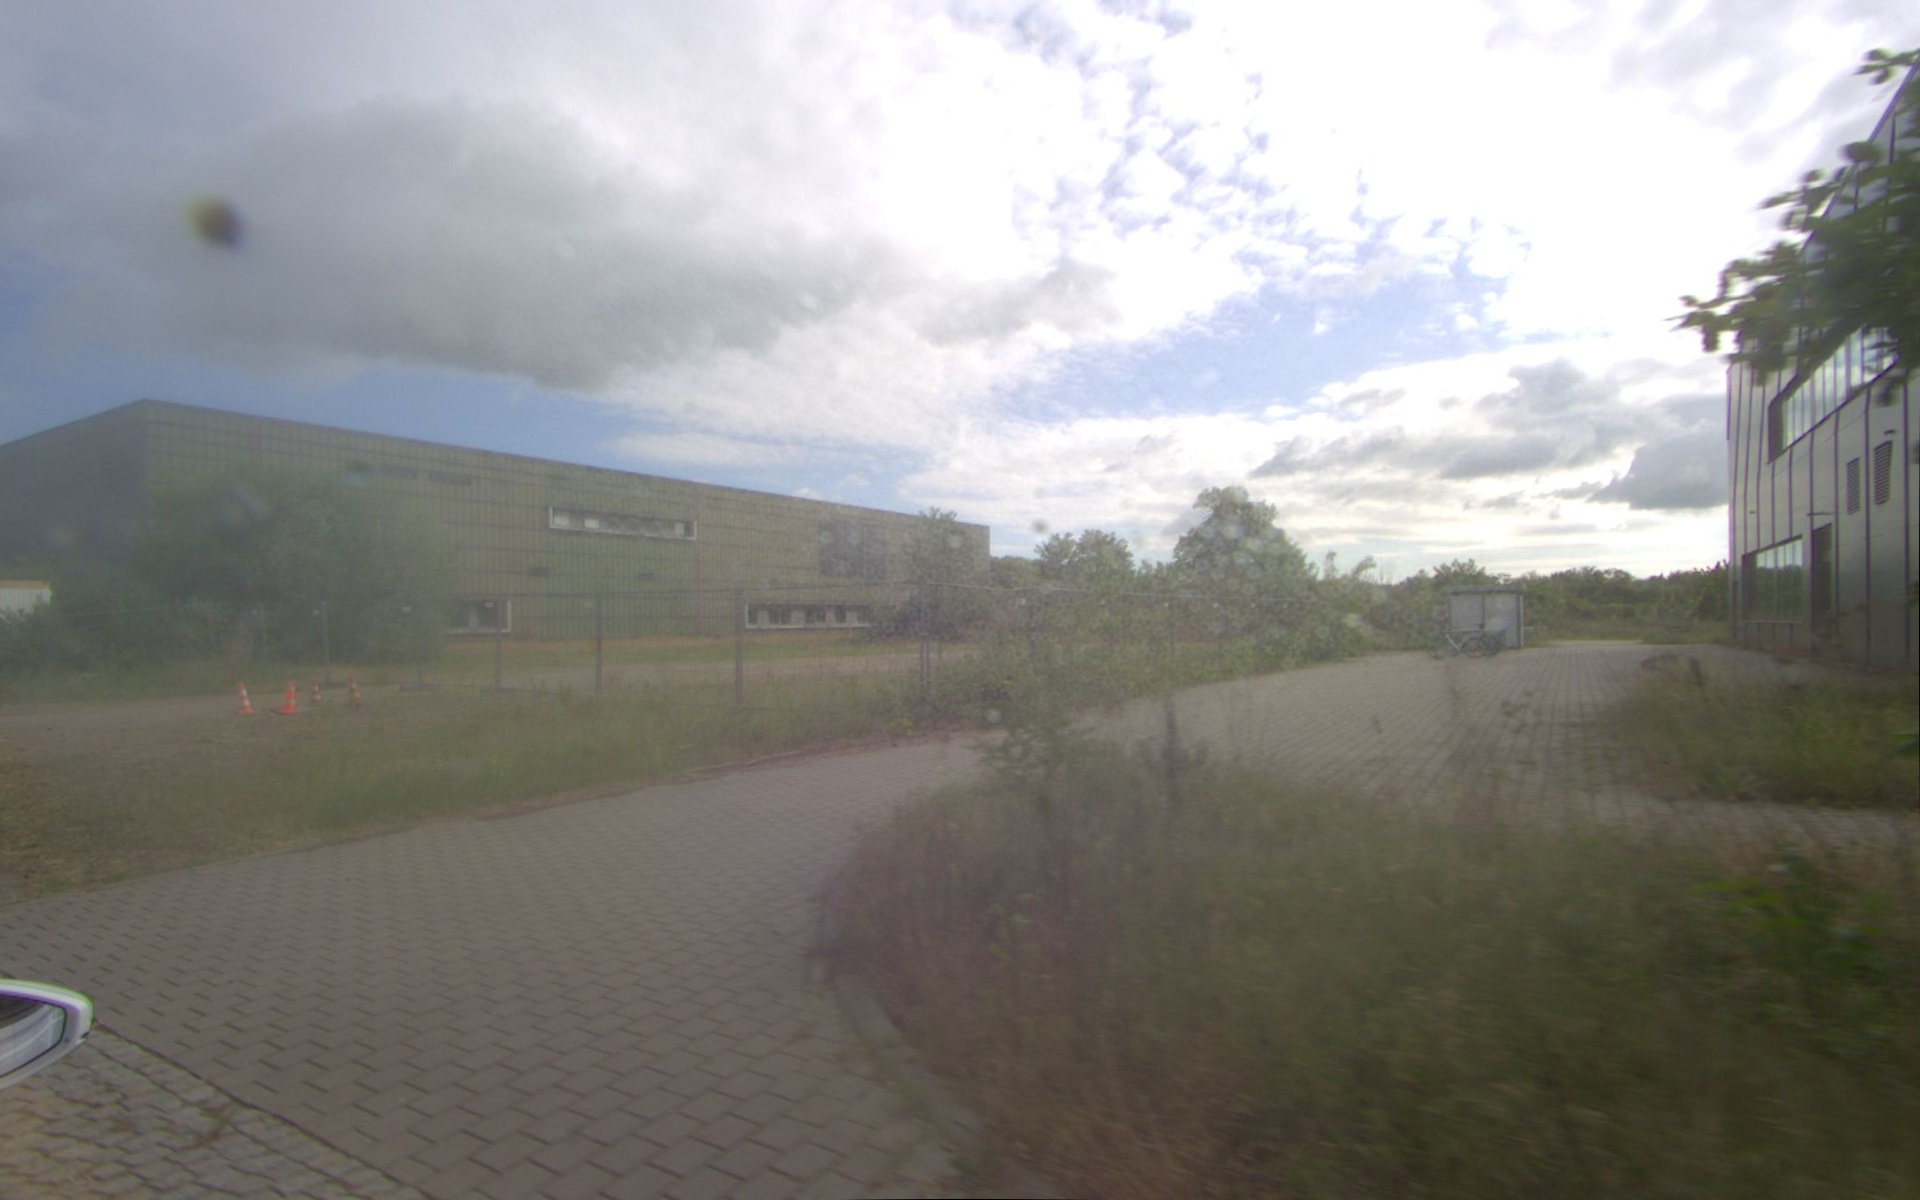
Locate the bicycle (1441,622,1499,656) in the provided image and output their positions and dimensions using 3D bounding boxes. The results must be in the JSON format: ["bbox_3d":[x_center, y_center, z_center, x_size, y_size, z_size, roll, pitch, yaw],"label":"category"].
[{"bbox_3d":[16.833,1.271,33.096,1.638,1.099,0.508,-1,-1,42],"label":"bicycle"}]

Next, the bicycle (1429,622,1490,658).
[{"bbox_3d":[15.563,1.240,31.225,1.638,1.099,0.508,-1,-1,42],"label":"bicycle"}]
